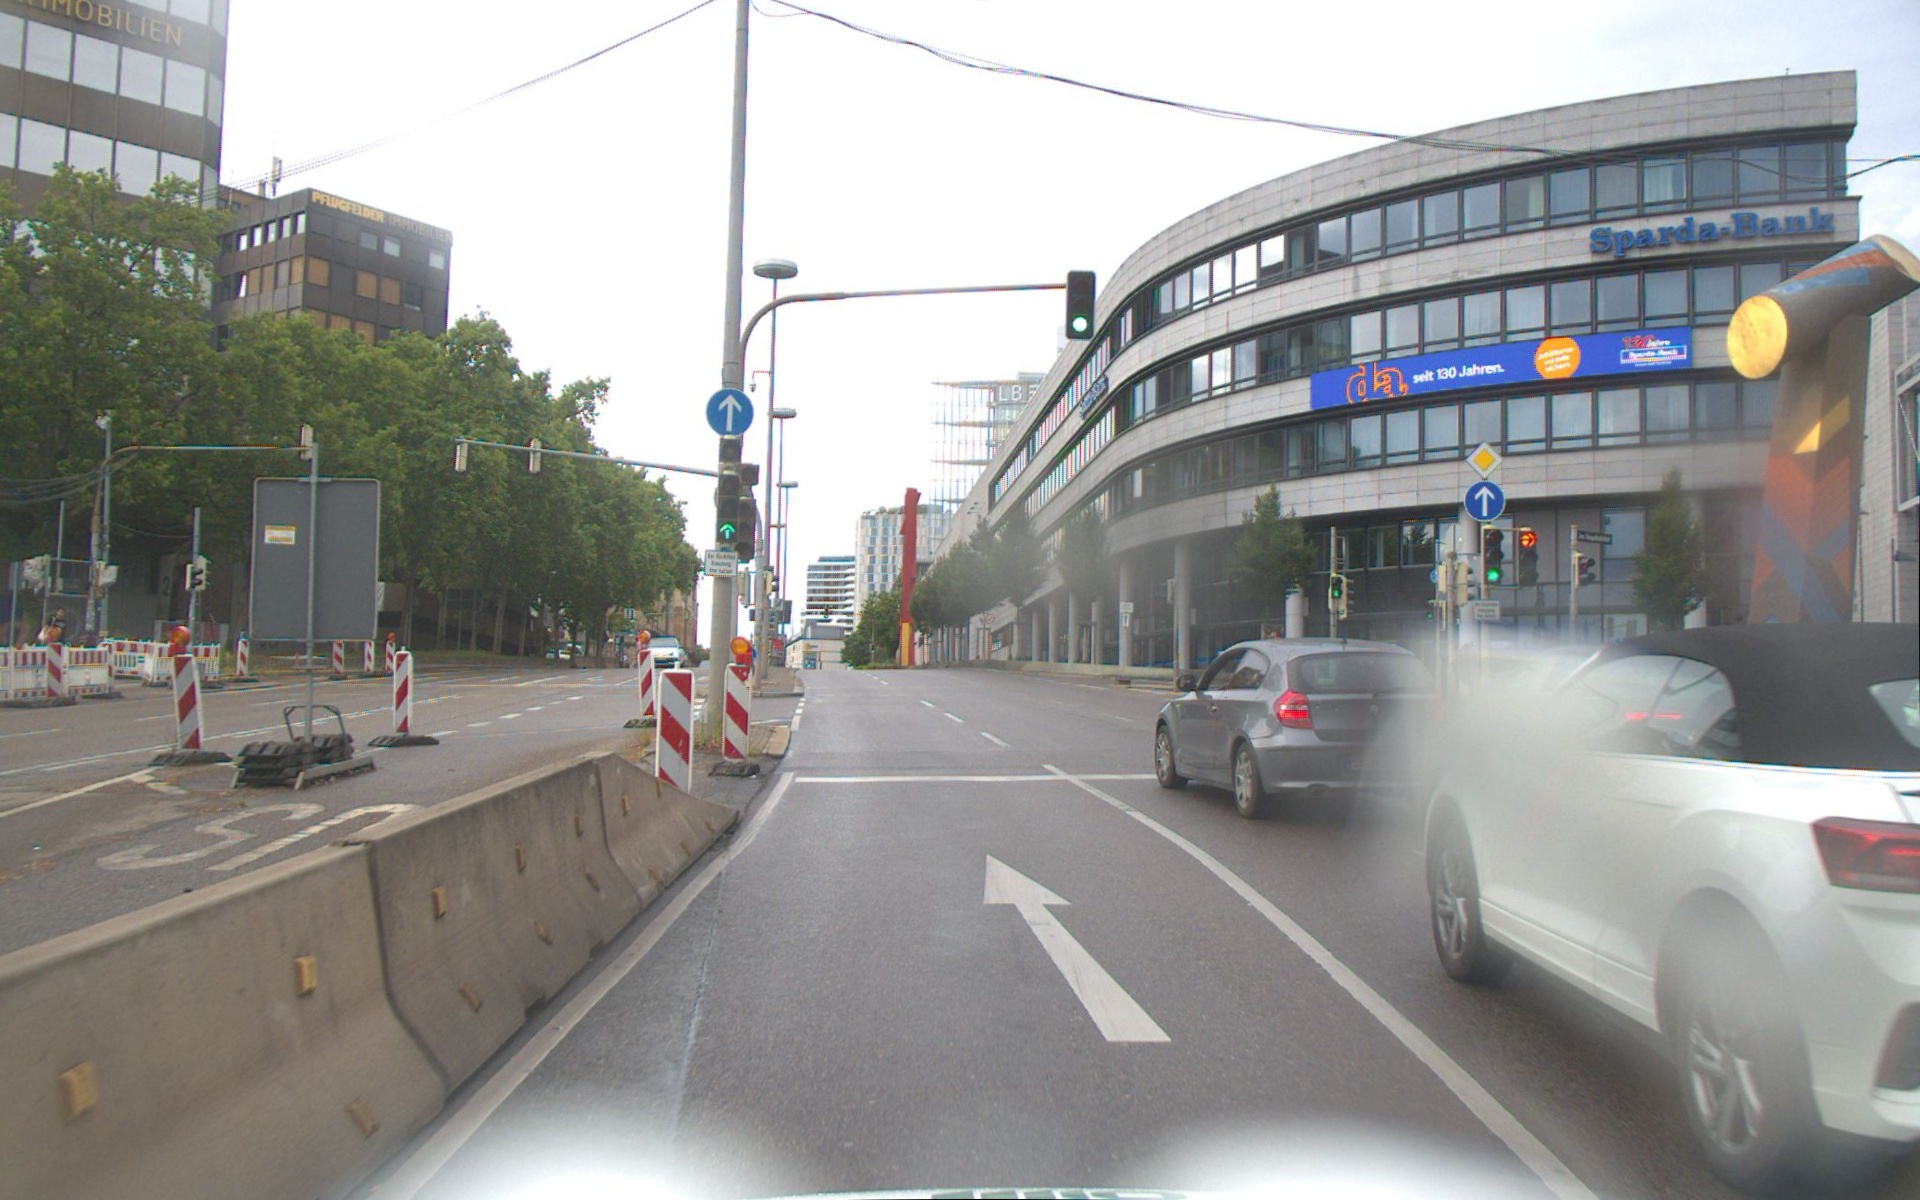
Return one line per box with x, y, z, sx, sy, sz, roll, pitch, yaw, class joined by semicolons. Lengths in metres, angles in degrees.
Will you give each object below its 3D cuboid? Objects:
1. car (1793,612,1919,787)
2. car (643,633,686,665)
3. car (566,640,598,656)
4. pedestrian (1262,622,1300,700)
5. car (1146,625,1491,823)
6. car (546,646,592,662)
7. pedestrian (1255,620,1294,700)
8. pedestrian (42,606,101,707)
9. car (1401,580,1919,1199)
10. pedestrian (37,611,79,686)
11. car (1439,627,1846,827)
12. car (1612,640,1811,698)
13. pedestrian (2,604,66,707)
10.439;1.002;17.814;1.733;1.663;4.583;0;-1;15;car
-14.436;2.368;80.970;1.727;1.486;4.354;0;-1;-5;car
-44.717;5.704;195.674;3.561;1.731;1.821;-1;-3;-9;car
8.066;1.539;41.593;0.823;1.938;0.732;-1;-3;21;pedestrian
2.934;0.982;14.421;1.707;1.468;3.993;1;-1;-7;car
-39.914;5.555;168.964;1.787;1.537;4.565;-3;-4;32;car
7.752;1.490;40.744;0.823;1.938;0.861;-1;-4;21;pedestrian
-17.172;1.103;31.988;0.658;1.935;0.775;1;-4;-2;pedestrian
3.069;0.795;5.799;1.923;1.576;4.218;1;-1;0;car
-23.602;1.280;43.281;0.728;1.913;0.744;2;-4;-14;pedestrian
5.736;1.039;14.509;1.719;1.432;4.225;2;-2;-2;car
20.478;1.908;45.255;4.599;1.467;1.868;1;-3;6;car
-17.899;1.087;31.994;0.745;1.956;0.741;1;-4;-2;pedestrian
